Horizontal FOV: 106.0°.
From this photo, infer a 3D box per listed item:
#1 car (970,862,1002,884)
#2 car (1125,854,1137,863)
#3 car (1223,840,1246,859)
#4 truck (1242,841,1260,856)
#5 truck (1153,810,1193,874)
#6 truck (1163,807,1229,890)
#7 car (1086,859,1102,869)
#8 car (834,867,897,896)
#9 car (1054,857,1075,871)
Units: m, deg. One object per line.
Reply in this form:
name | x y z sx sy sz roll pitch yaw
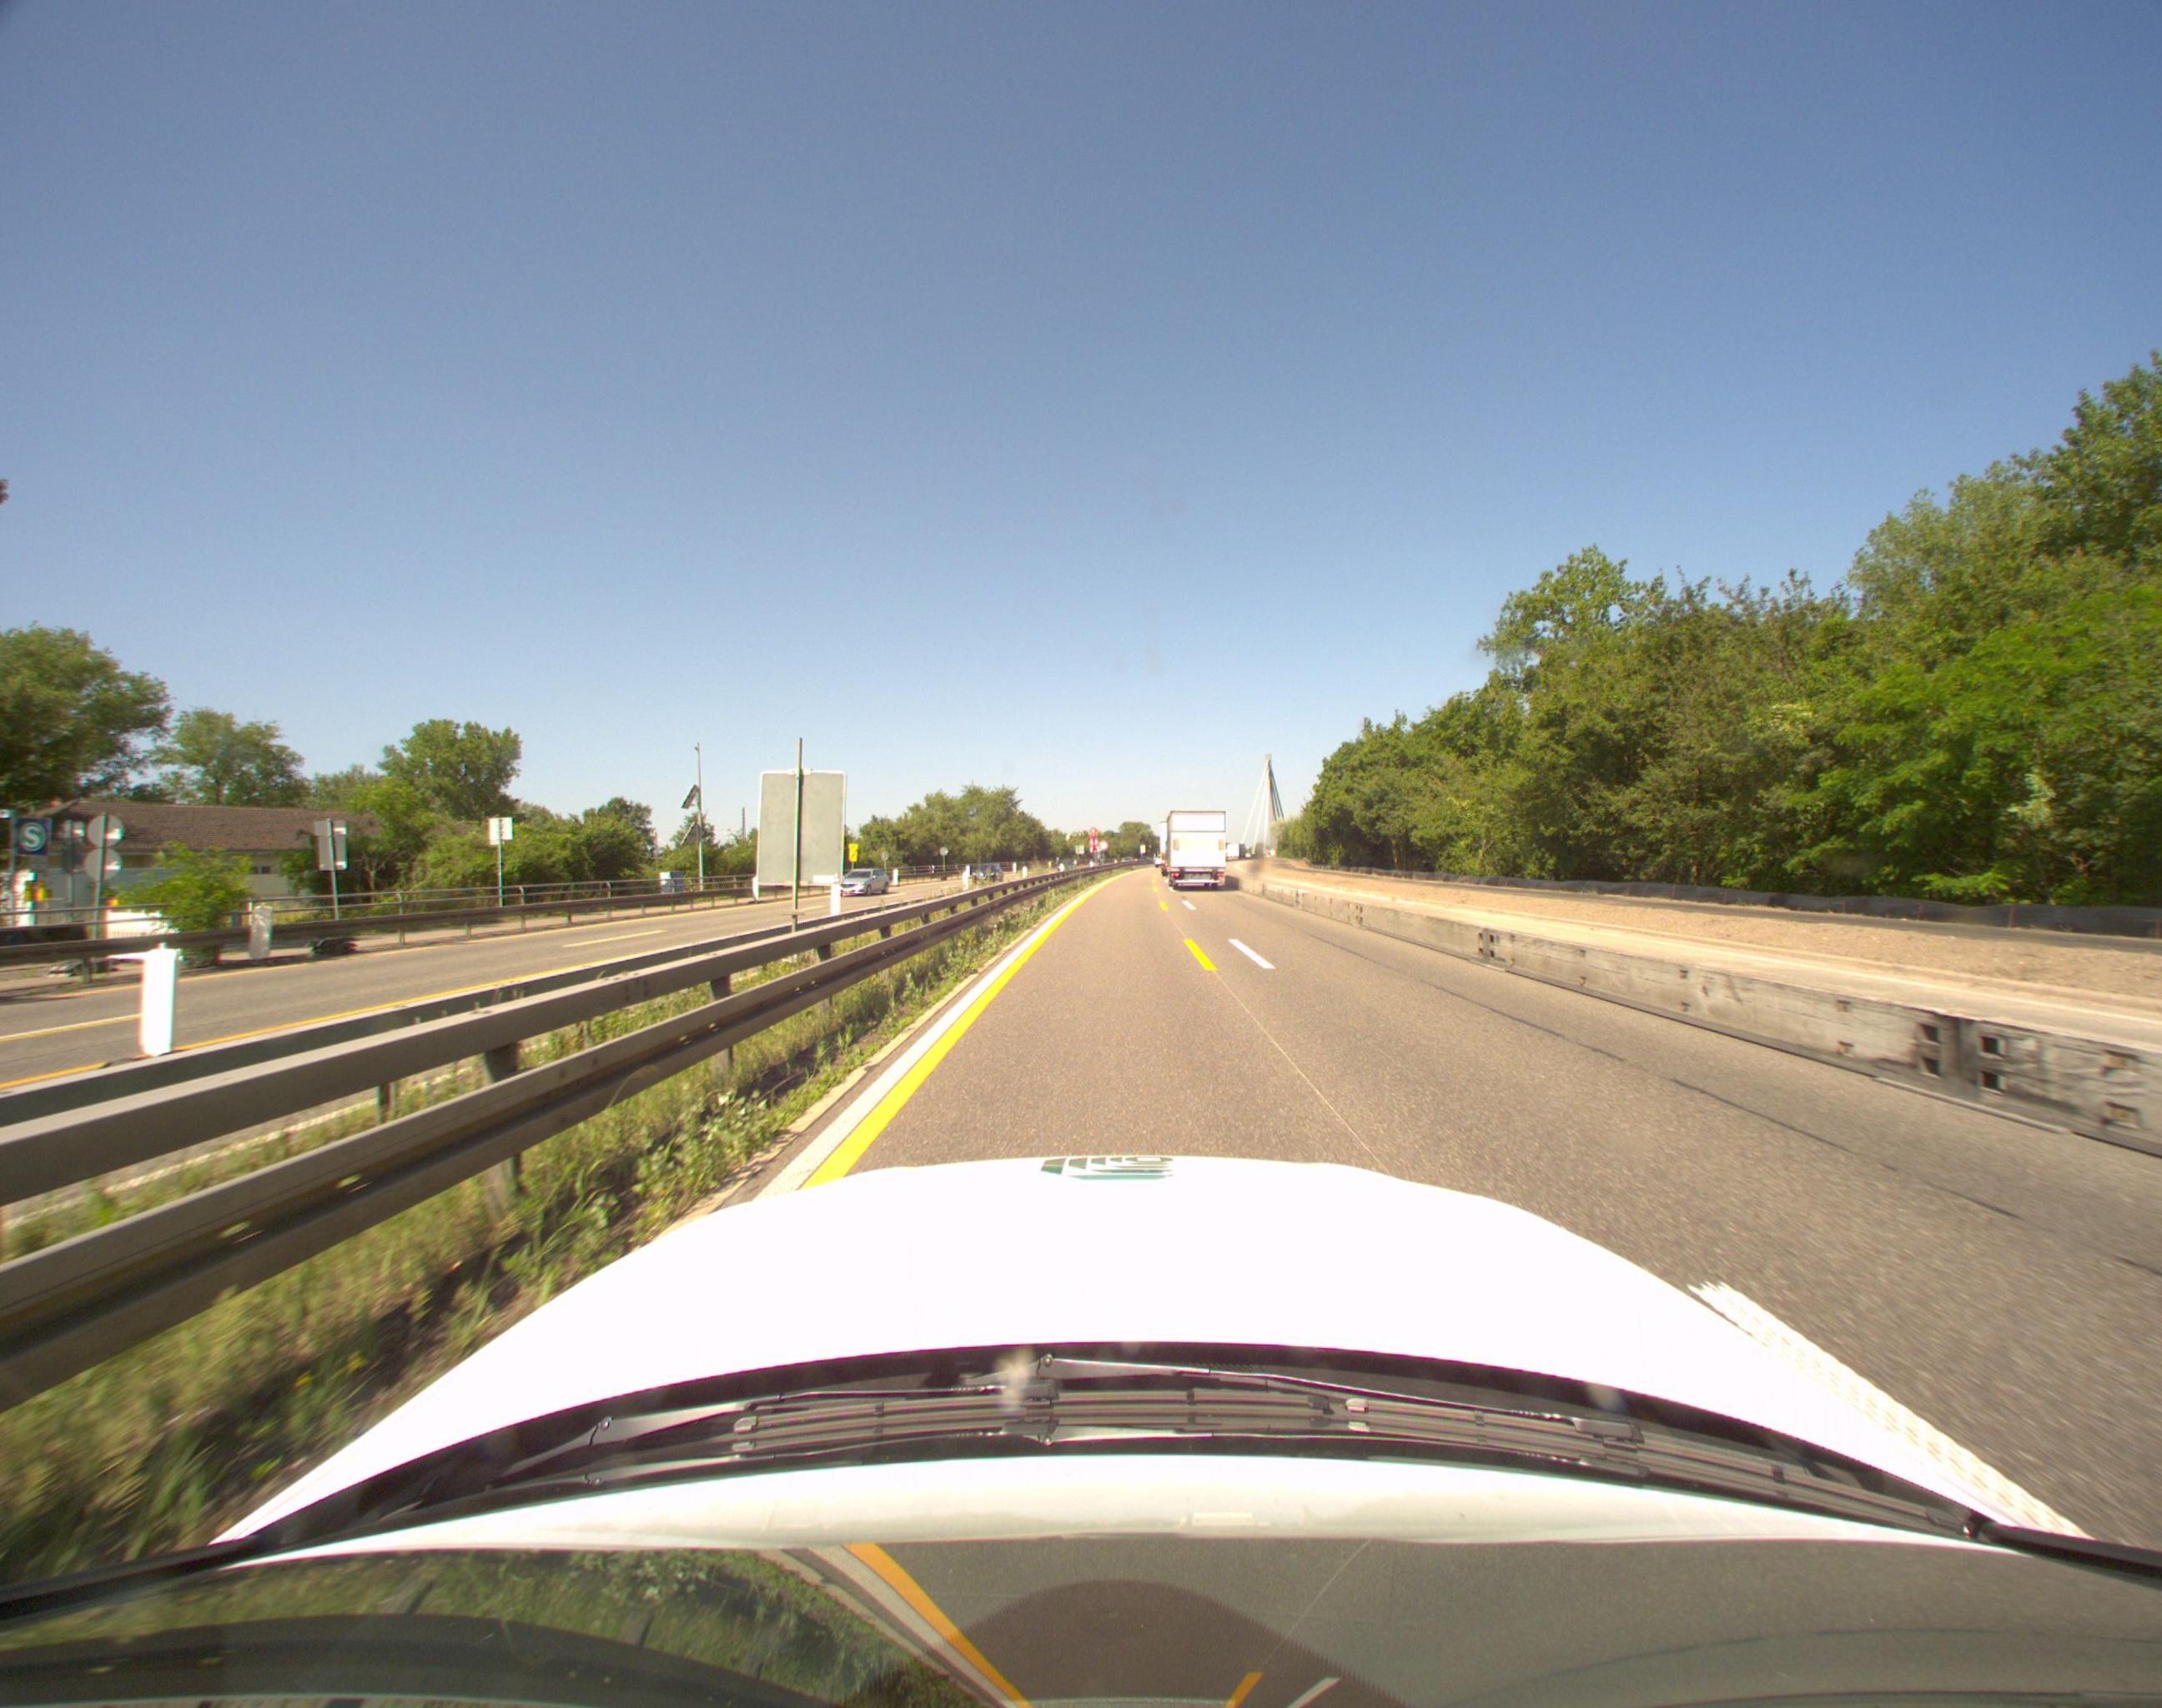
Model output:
car | -7.251 1.415 62.451 1.730 1.498 4.004 -2 0 4
car | 9.100 0.782 147.872 1.983 1.552 4.008 -2 0 7
car | 37.156 -1.086 196.694 4.175 4.251 10.708 -3 0 16
truck | 51.298 -1.695 245.569 4.187 4.266 10.287 -3 0 17
truck | 6.755 -0.843 60.709 2.623 4.469 7.240 0 0 4
truck | 5.112 -0.209 37.350 2.622 3.427 7.242 0 0 5
car | 2.199 1.567 133.735 1.982 1.552 4.010 -2 0 9
car | -12.080 1.483 45.951 1.876 1.420 4.865 -2 0 4
car | -2.002 1.237 100.695 1.983 1.552 4.007 -2 0 6
